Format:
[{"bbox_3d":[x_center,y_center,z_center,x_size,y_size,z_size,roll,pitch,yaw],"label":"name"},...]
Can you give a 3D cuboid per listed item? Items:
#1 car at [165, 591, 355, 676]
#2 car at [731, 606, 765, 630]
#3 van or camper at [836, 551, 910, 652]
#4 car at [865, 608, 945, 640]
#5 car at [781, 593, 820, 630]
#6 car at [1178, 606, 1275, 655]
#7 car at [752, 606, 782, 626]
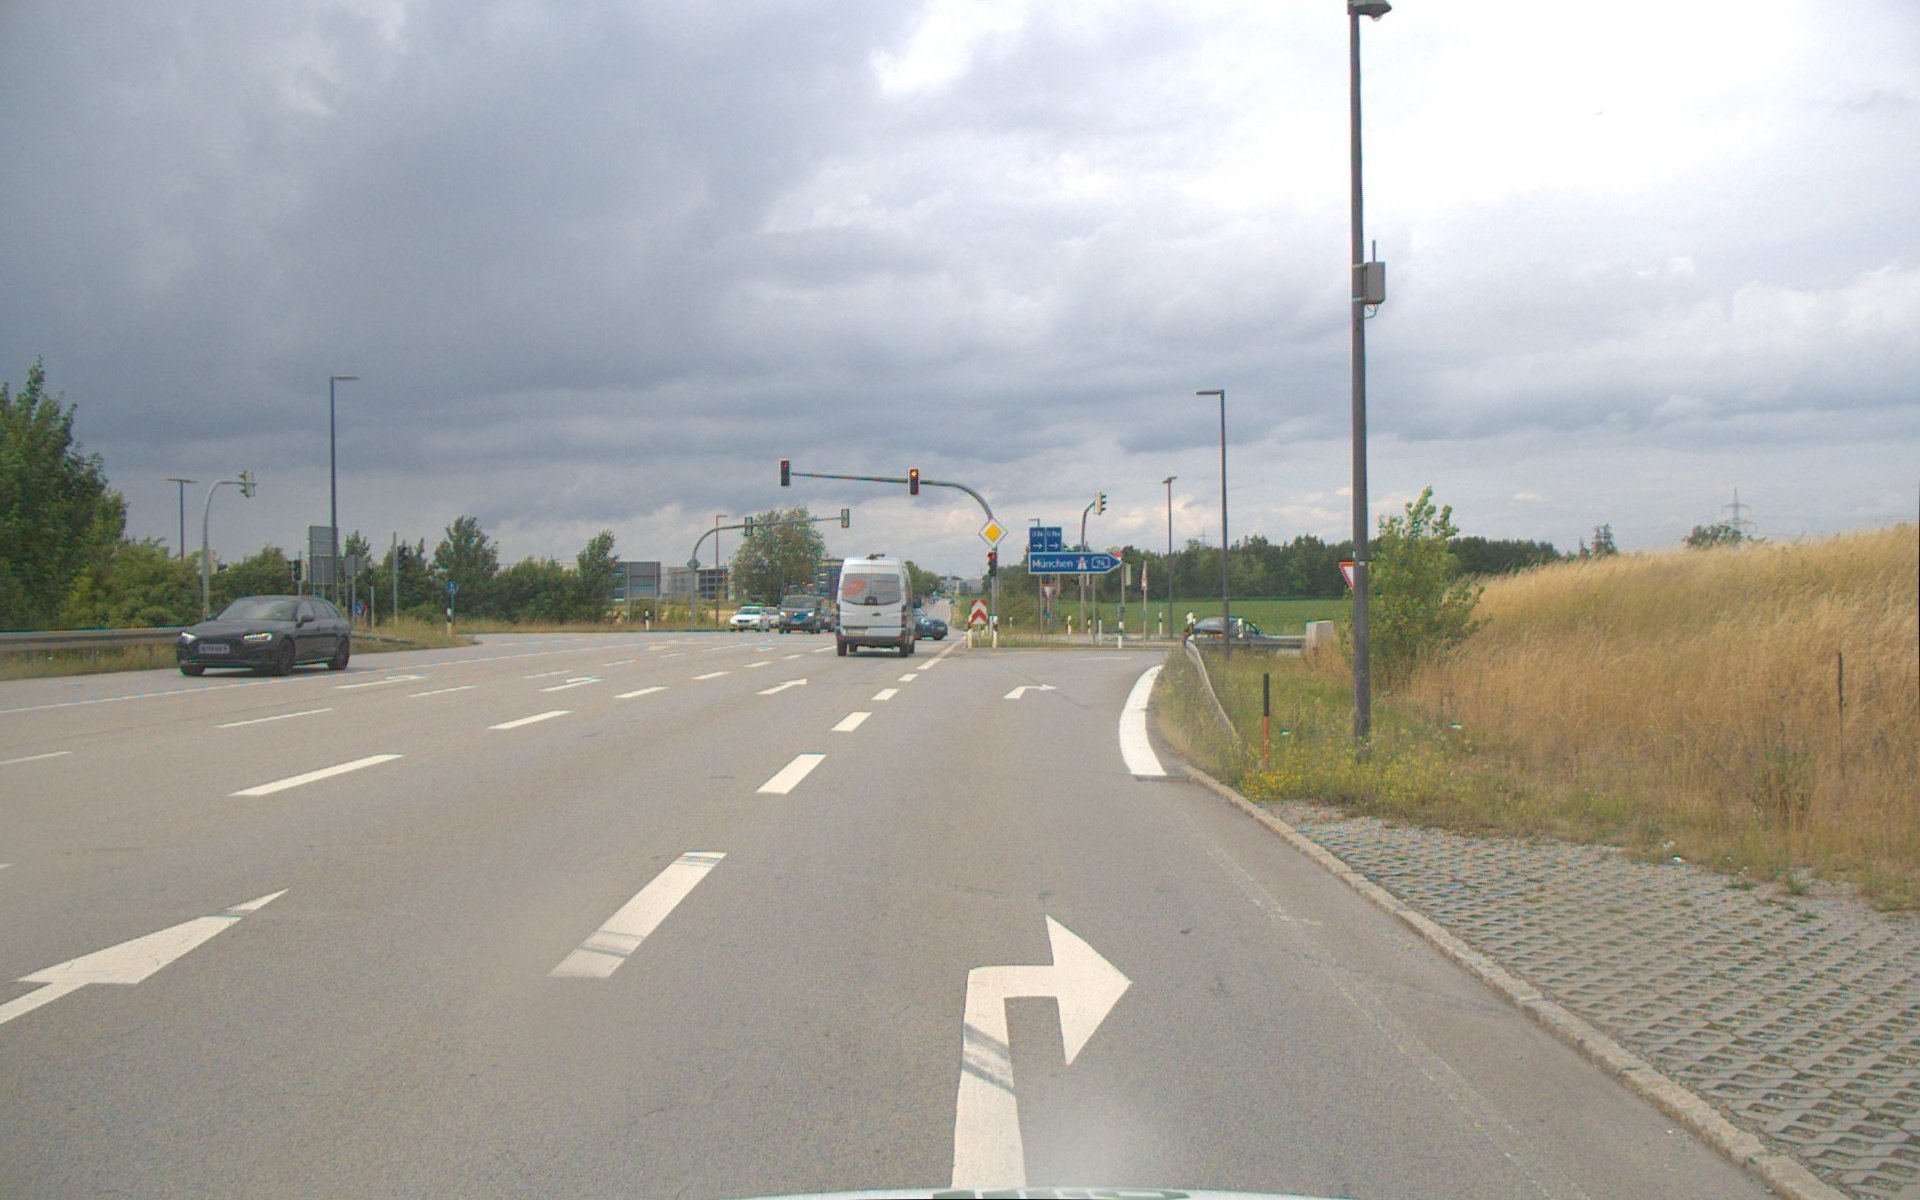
[{"bbox_3d":[-12.763,0.595,30.418,1.806,1.450,3.909,0,-1,0],"label":"car"},{"bbox_3d":[-12.137,0.999,94.818,1.450,1.305,3.534,0,0,0],"label":"car"},{"bbox_3d":[-2.352,0.027,45.568,1.838,2.626,4.000,1,0,-1],"label":"van or camper"},{"bbox_3d":[-2.338,0.996,69.936,3.101,1.288,1.482,0,0,30],"label":"car"},{"bbox_3d":[-8.189,0.569,85.157,1.604,1.884,3.749,0,0,0],"label":"car"},{"bbox_3d":[8.765,0.964,54.272,1.495,1.511,3.595,0,0,41],"label":"car"},{"bbox_3d":[-12.267,1.027,105.383,1.450,1.199,3.534,0,0,0],"label":"car"}]
